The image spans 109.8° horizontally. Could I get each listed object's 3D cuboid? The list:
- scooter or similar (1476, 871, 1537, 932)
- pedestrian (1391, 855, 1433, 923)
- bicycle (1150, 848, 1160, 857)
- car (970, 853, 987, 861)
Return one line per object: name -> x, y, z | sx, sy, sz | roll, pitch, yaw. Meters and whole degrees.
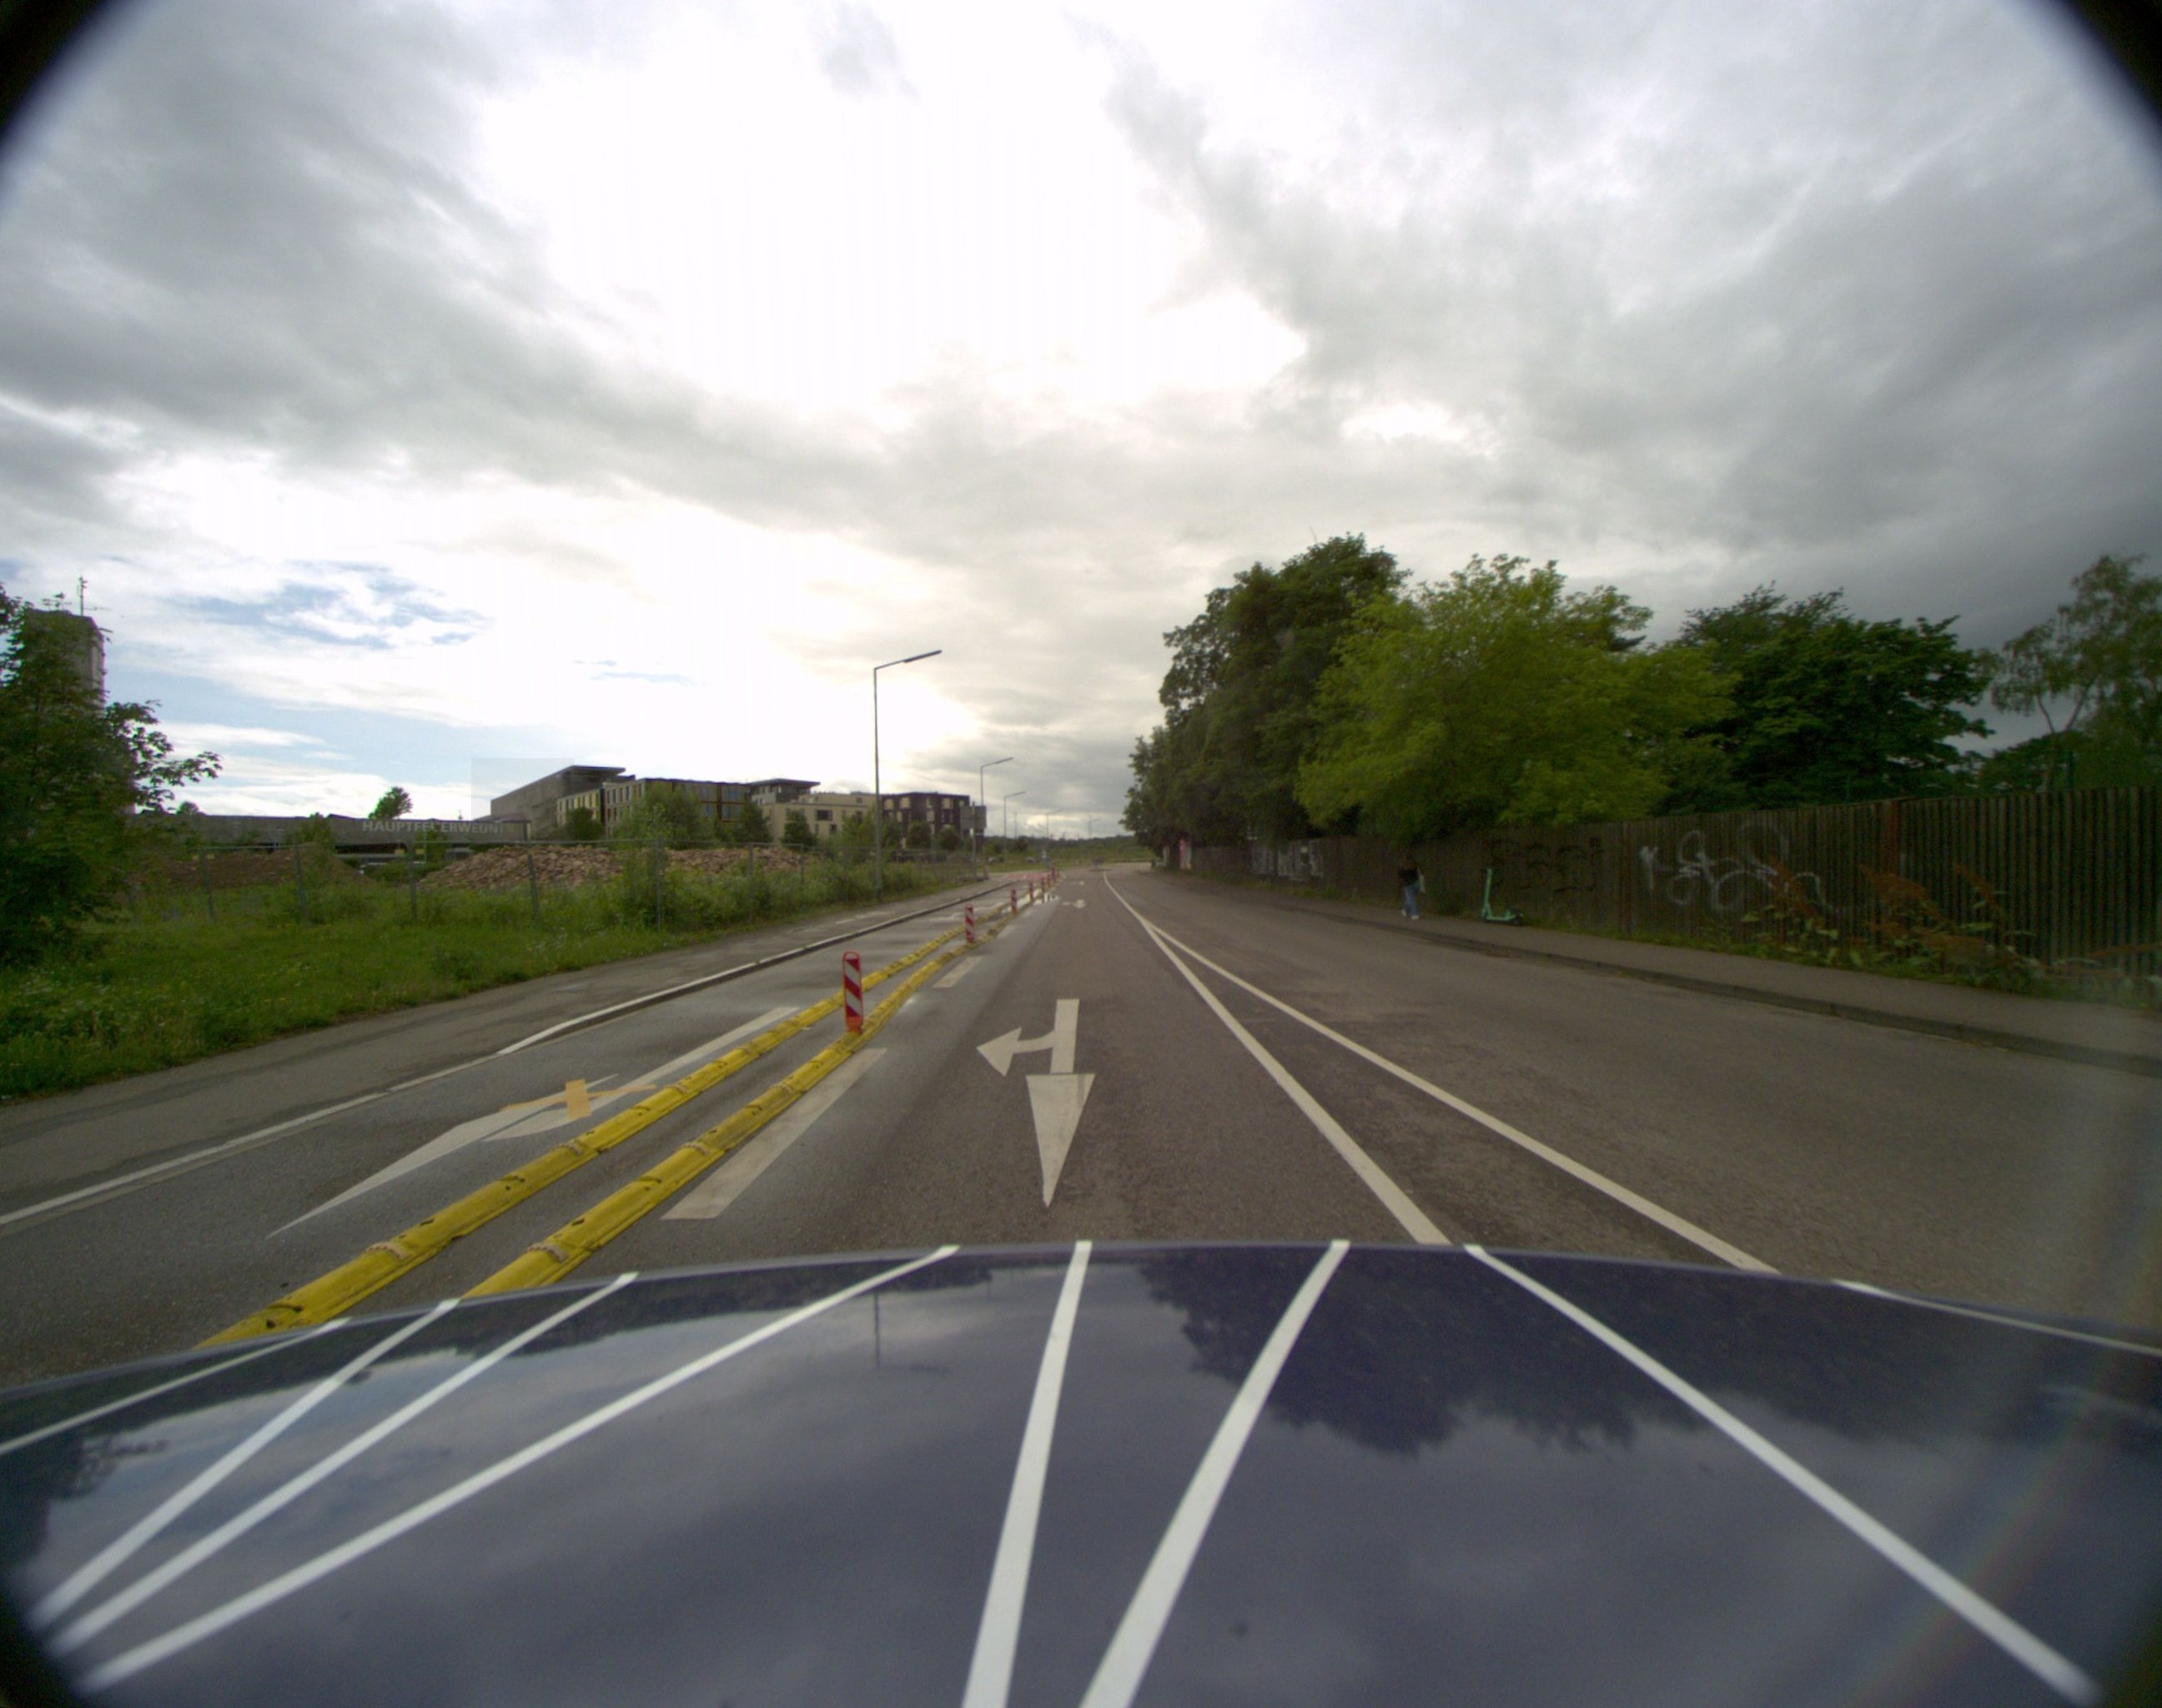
scooter or similar -> 8.618, 0.936, 15.451 | 0.424, 1.164, 1.303 | -1, 0, -5
pedestrian -> 7.633, 0.796, 17.535 | 0.614, 1.520, 0.724 | -1, 1, -4
bicycle -> 9.117, -0.217, 93.354 | 0.582, 0.992, 1.773 | -3, 0, 28
car -> -26.361, 0.757, 194.789 | 1.994, 2.002, 4.008 | 0, 0, 42
